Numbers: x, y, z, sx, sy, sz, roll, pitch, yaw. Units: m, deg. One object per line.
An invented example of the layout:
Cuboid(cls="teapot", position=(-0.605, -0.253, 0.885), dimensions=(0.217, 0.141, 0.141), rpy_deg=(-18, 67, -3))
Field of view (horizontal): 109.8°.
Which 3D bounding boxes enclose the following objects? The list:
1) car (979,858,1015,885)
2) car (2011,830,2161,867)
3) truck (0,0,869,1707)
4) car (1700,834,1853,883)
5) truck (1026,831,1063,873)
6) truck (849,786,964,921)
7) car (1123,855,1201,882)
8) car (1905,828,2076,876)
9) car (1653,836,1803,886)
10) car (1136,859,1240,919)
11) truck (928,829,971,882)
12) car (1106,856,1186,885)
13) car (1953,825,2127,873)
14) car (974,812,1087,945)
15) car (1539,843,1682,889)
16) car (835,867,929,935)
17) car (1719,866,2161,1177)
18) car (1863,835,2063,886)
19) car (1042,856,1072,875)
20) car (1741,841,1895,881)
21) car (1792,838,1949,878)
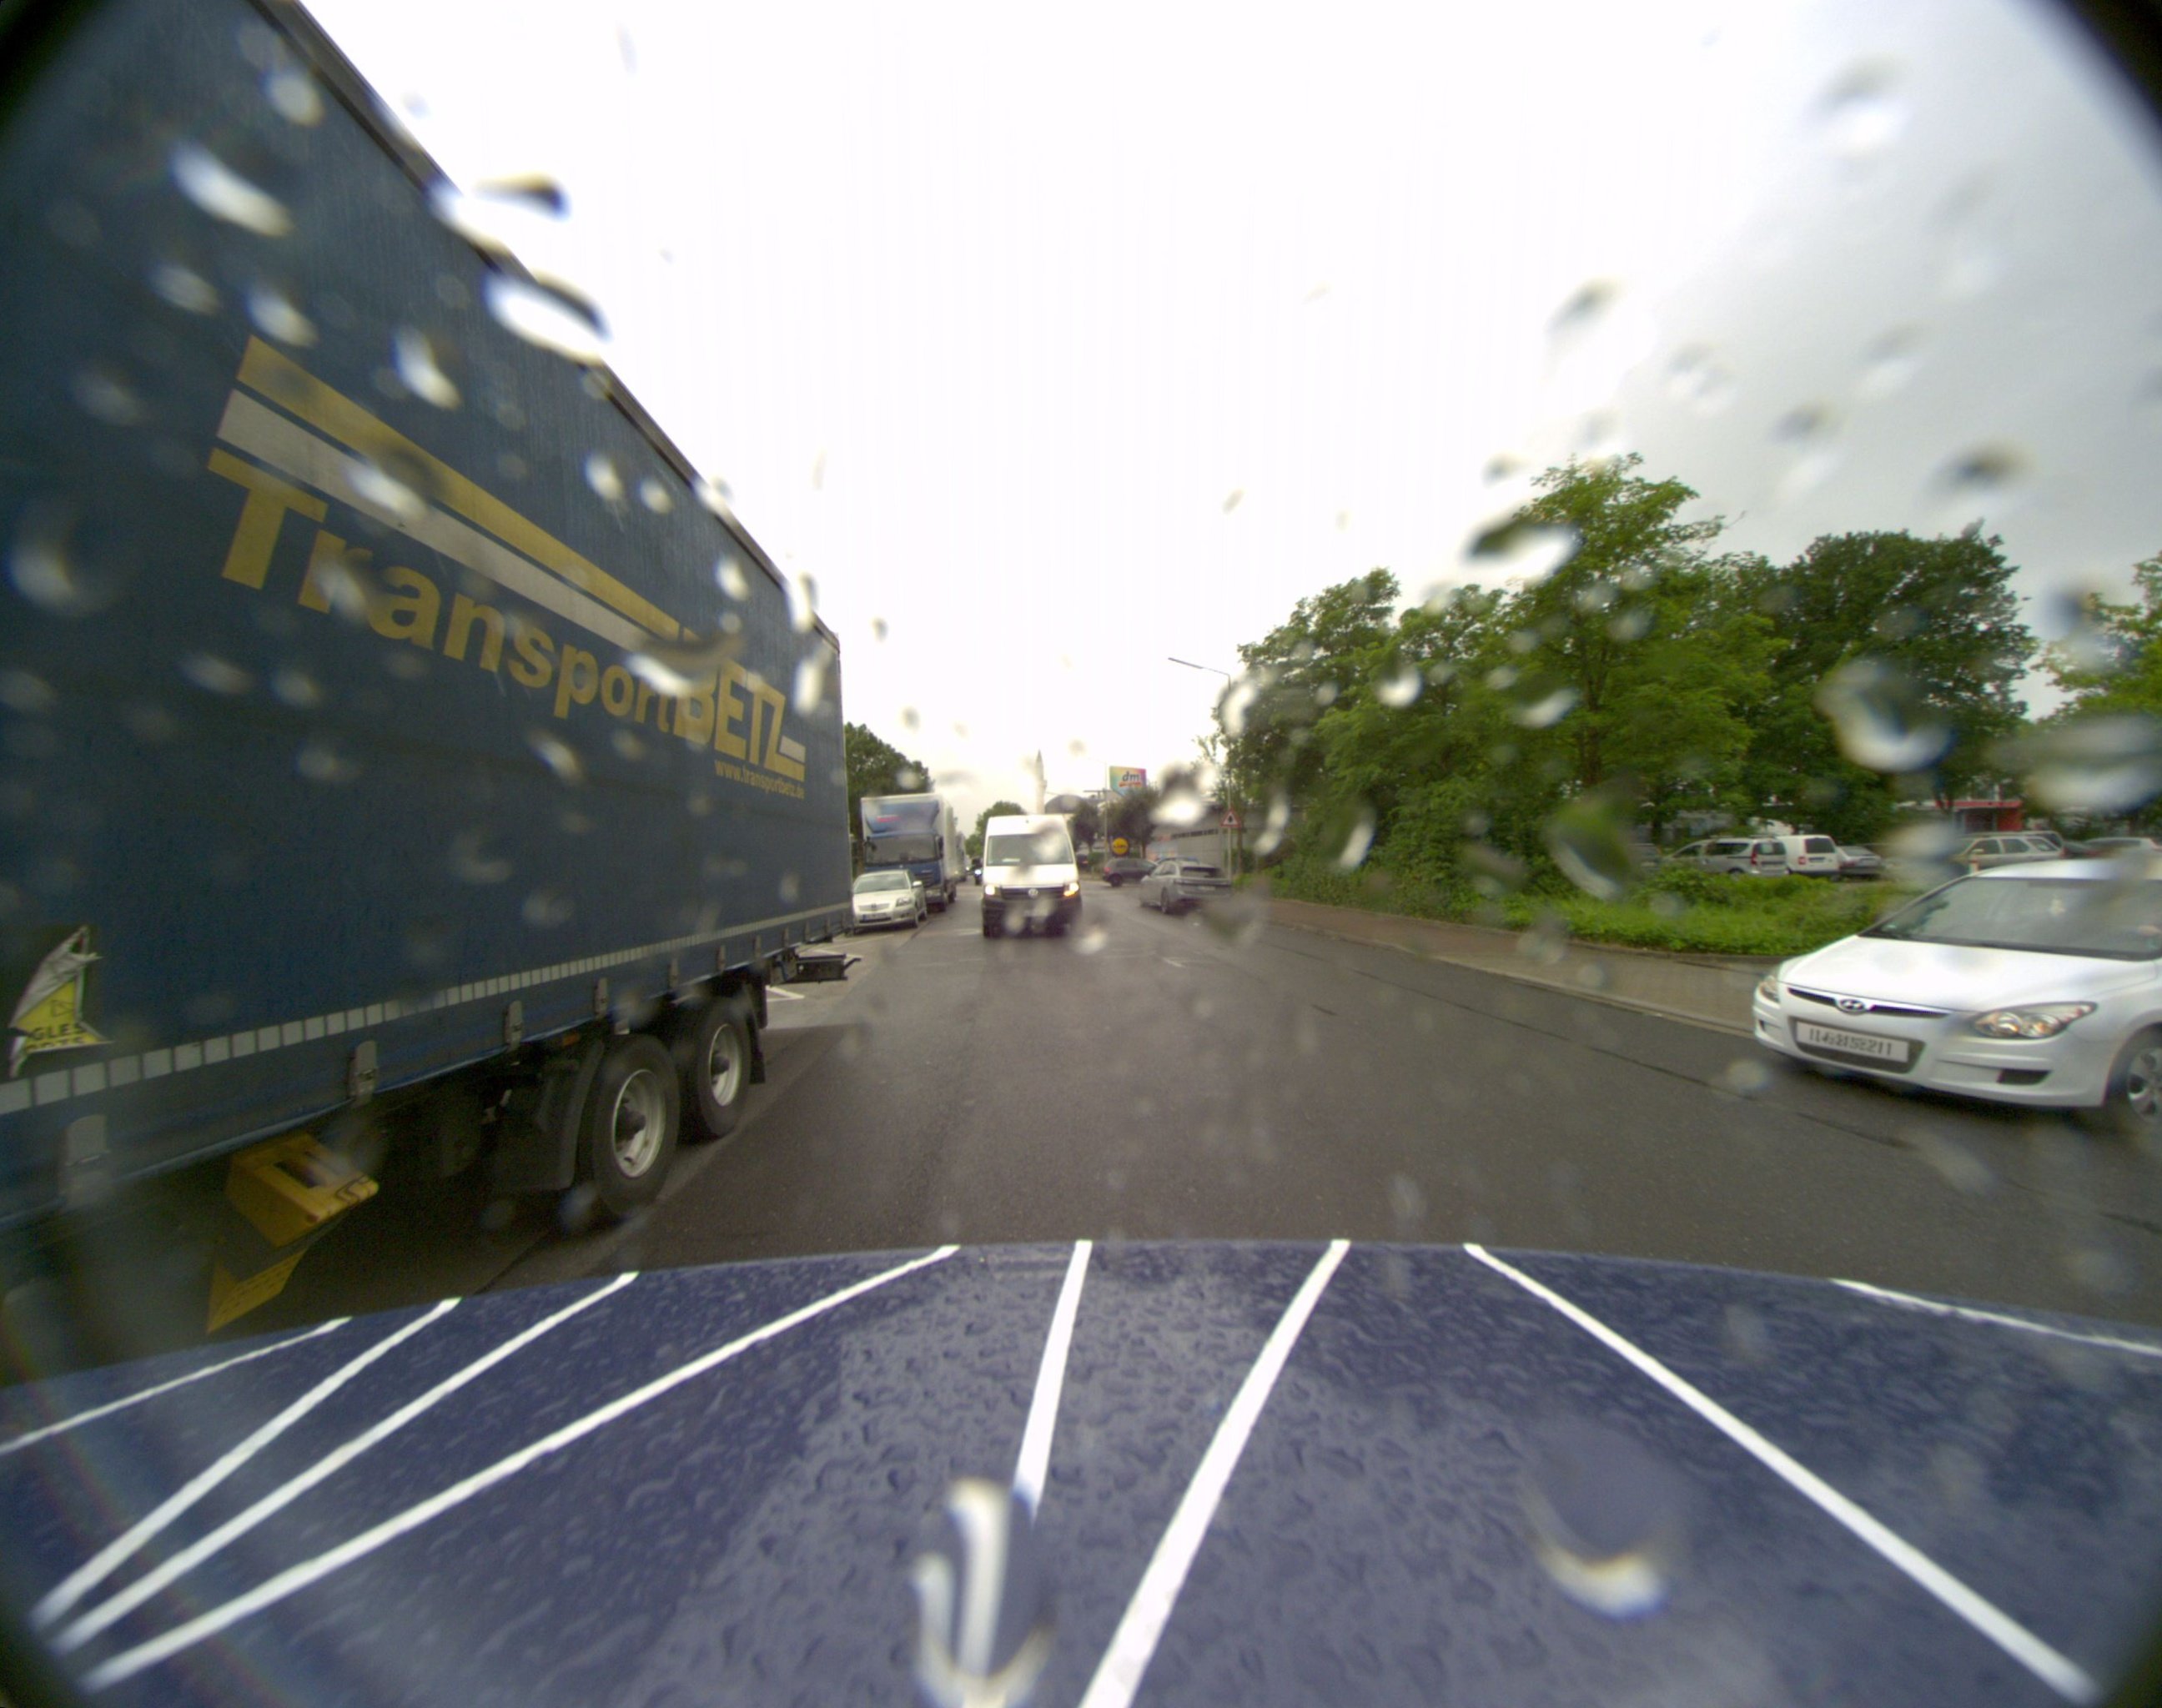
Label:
Cuboid(cls="car", position=(-5.351, 1.065, 48.068), dimensions=(2.000, 1.555, 3.997), rpy_deg=(-1, 0, -10))
Cuboid(cls="car", position=(44.128, -0.240, 33.158), dimensions=(2.001, 1.477, 3.995), rpy_deg=(-1, 0, -13))
Cuboid(cls="truck", position=(-3.350, -0.045, 3.822), dimensions=(2.749, 3.590, 7.746), rpy_deg=(-4, 1, -5))
Cuboid(cls="car", position=(27.097, 0.168, 29.808), dimensions=(2.001, 1.783, 3.995), rpy_deg=(-1, 0, -13))
Cuboid(cls="truck", position=(-3.504, -0.157, 71.894), dimensions=(2.891, 3.724, 7.862), rpy_deg=(-1, 0, -7))
Cuboid(cls="truck", position=(-5.797, -0.025, 26.855), dimensions=(2.749, 3.767, 9.292), rpy_deg=(-4, 1, -7))
Cuboid(cls="car", position=(4.481, 0.769, 42.226), dimensions=(4.000, 1.432, 1.735), rpy_deg=(0, 0, -8))
Cuboid(cls="car", position=(37.008, -0.092, 31.070), dimensions=(2.001, 1.805, 3.995), rpy_deg=(-1, 0, -13))
Cuboid(cls="car", position=(24.938, 0.244, 29.485), dimensions=(2.001, 1.783, 3.995), rpy_deg=(-1, 0, -13))
Cuboid(cls="car", position=(3.109, 0.983, 23.113), dimensions=(1.815, 1.519, 4.744), rpy_deg=(3, 0, -8))
Cuboid(cls="truck", position=(-10.000, 0.097, 58.466), dimensions=(2.680, 3.671, 8.003), rpy_deg=(-4, 1, -8))
Cuboid(cls="car", position=(3.383, 0.845, 39.178), dimensions=(3.994, 1.432, 1.738), rpy_deg=(0, 0, 10))
Cuboid(cls="car", position=(39.426, -0.193, 31.395), dimensions=(2.001, 1.805, 3.995), rpy_deg=(-1, 0, -13))
Cuboid(cls="car", position=(-1.133, 0.462, 17.003), dimensions=(2.085, 2.466, 5.344), rpy_deg=(-1, 0, -4))
Cuboid(cls="car", position=(19.719, 0.429, 28.508), dimensions=(2.001, 1.565, 3.994), rpy_deg=(-1, 0, -17))
Cuboid(cls="car", position=(-4.968, 1.109, 19.522), dimensions=(1.803, 1.433, 4.341), rpy_deg=(-1, 0, -8))
Cuboid(cls="car", position=(6.976, 0.896, 5.175), dimensions=(4.204, 1.451, 1.711), rpy_deg=(-2, 1, -10))
Cuboid(cls="car", position=(29.061, 0.208, 25.142), dimensions=(4.291, 1.541, 2.026), rpy_deg=(-1, 0, -1))
Cuboid(cls="car", position=(-1.862, 0.836, 57.511), dimensions=(1.842, 1.426, 4.488), rpy_deg=(0, 0, -7))
Cuboid(cls="car", position=(29.350, 0.259, 30.438), dimensions=(2.001, 1.477, 3.995), rpy_deg=(-1, 0, -13))
Cuboid(cls="car", position=(32.091, 0.159, 31.064), dimensions=(2.001, 1.477, 3.995), rpy_deg=(-1, 0, -13))
